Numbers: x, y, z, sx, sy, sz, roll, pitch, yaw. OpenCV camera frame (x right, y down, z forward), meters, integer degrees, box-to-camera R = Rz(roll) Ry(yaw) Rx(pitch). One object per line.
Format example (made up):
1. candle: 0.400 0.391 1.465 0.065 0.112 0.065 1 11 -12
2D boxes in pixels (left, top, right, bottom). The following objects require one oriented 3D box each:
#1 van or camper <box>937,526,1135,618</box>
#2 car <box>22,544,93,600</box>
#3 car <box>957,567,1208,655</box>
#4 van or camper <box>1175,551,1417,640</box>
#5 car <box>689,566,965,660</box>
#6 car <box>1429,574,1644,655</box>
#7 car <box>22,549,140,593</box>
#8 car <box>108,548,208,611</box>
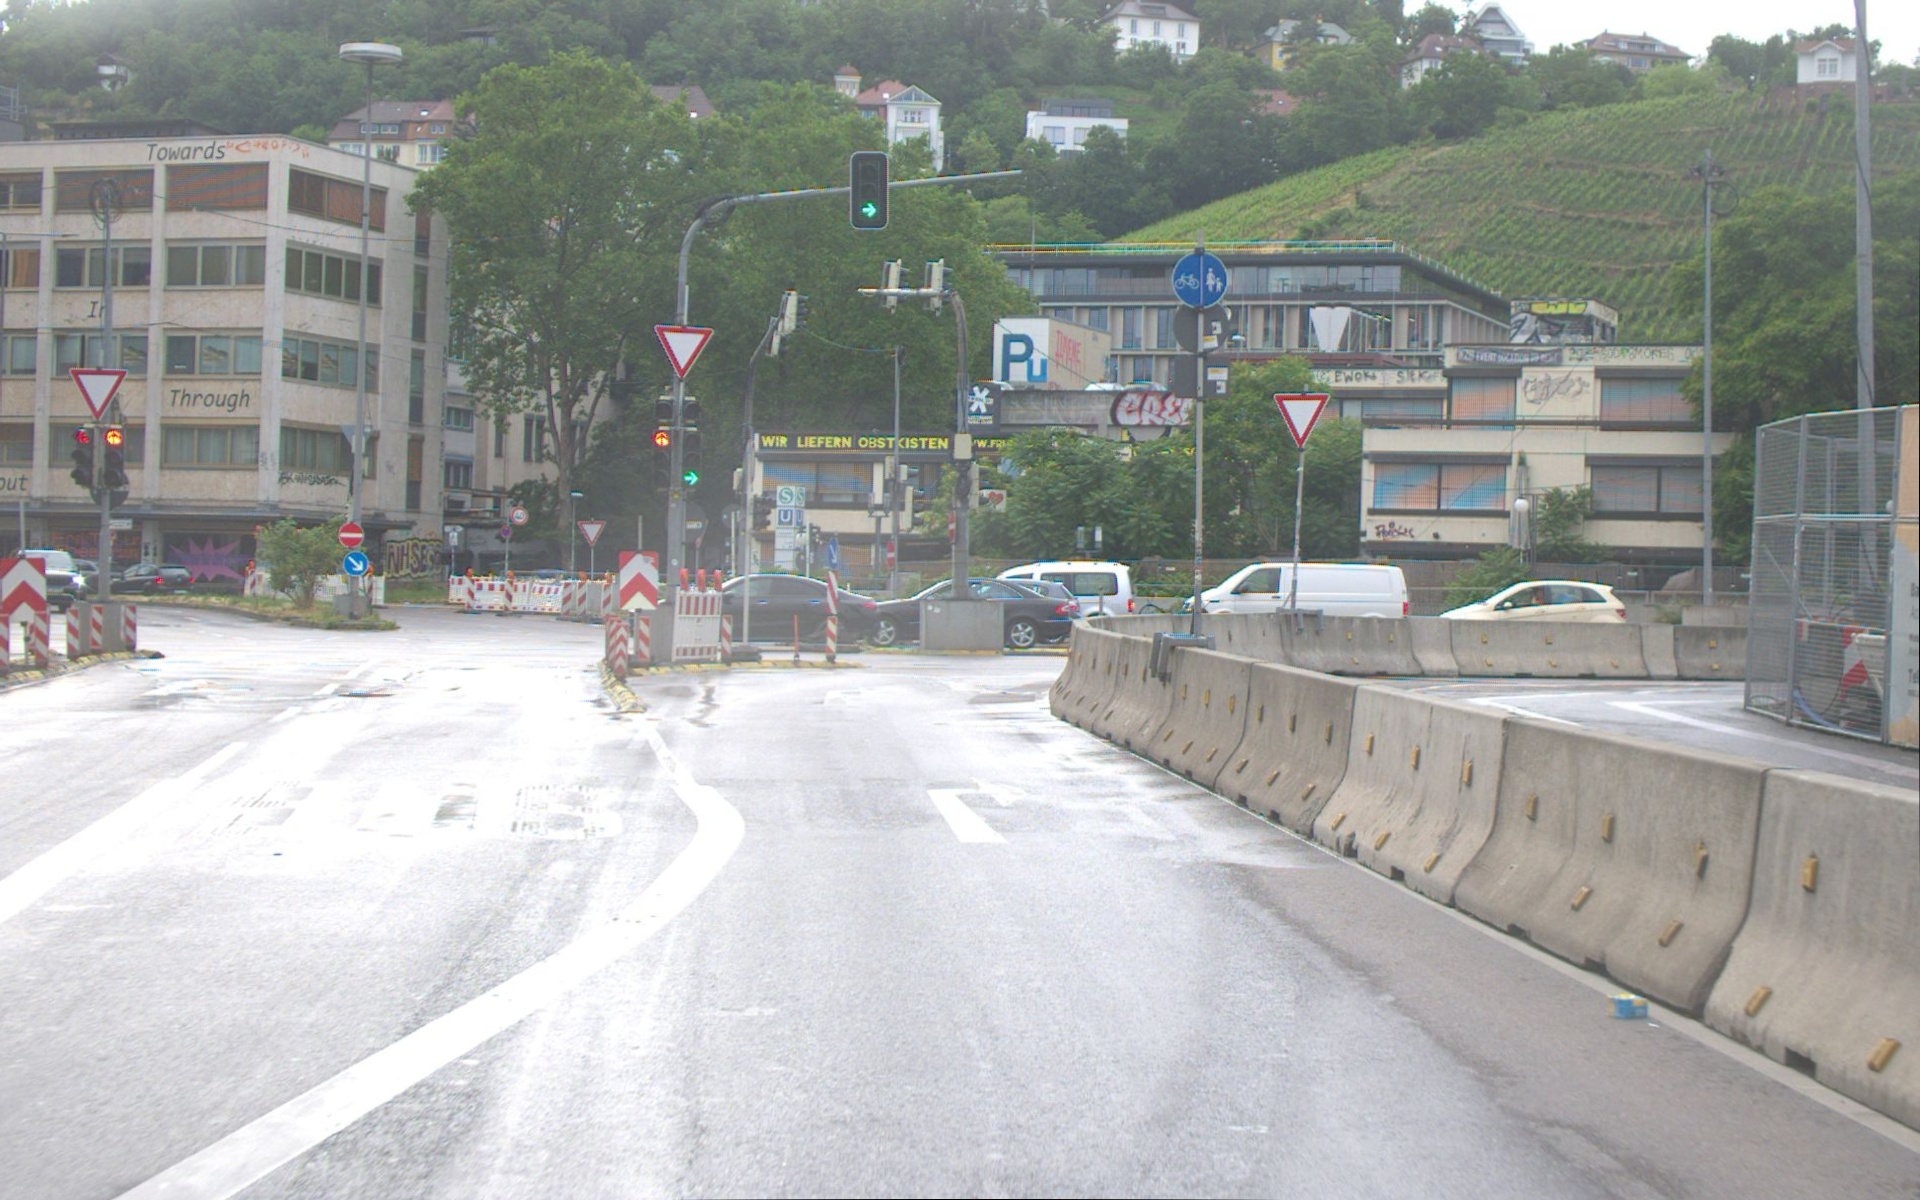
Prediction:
1. van or camper: 1.722 -0.638 78.619 4.241 1.972 1.852 1 1 -7
2. car: -25.215 -0.808 96.118 1.830 1.481 4.001 1 1 -14
3. car: 2.385 0.204 67.850 4.647 1.593 2.019 1 1 -7
4. van or camper: 7.682 -0.111 78.913 5.194 1.887 1.888 1 1 -7
5. car: -2.453 0.235 63.258 4.646 1.593 2.019 1 1 -20
6. car: 12.736 0.310 76.161 4.365 1.668 1.848 1 1 -2
7. car: -32.005 -1.063 125.156 4.071 1.487 1.733 2 1 30
8. car: -27.463 -0.715 117.655 1.993 2.007 4.000 1 1 -34
